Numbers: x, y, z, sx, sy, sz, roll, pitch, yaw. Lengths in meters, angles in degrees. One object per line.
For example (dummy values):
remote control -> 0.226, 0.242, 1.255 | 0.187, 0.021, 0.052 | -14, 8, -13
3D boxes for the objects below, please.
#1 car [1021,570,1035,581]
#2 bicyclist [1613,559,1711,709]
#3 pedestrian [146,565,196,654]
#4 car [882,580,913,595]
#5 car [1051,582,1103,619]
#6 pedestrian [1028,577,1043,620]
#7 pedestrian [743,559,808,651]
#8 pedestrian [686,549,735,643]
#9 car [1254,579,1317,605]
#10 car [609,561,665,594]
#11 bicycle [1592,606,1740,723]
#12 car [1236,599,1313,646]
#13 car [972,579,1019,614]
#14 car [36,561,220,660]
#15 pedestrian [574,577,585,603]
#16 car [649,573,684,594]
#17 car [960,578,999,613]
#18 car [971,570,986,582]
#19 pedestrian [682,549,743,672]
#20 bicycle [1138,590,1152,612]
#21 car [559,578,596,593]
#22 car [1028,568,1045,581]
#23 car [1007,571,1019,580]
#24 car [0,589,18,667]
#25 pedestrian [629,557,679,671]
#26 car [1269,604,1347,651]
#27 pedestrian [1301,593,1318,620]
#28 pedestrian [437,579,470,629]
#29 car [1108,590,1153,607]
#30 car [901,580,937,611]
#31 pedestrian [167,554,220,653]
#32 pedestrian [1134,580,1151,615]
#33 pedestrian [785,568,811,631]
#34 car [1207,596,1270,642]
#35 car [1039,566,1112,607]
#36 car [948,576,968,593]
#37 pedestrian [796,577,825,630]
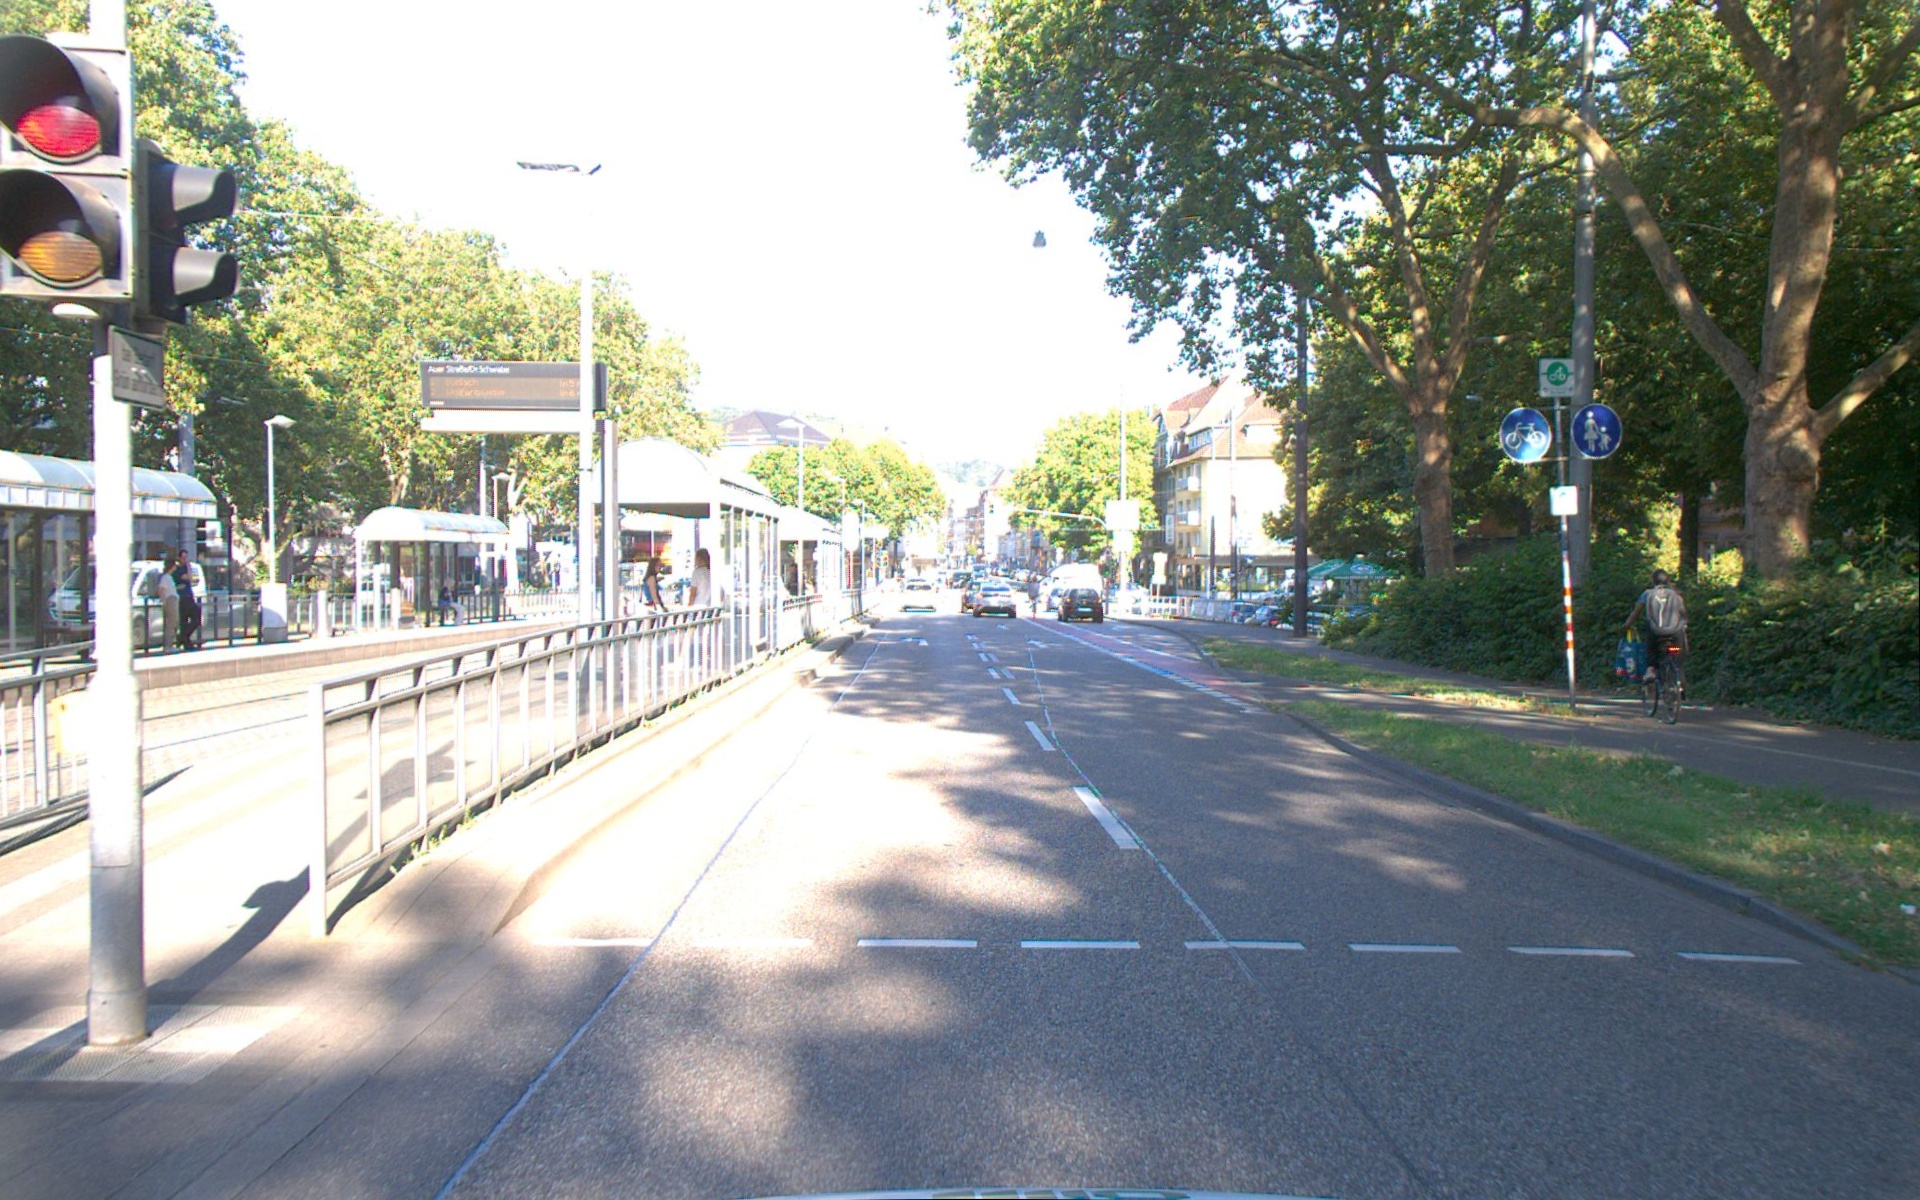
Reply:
car -> 9.681, -3.471, 234.721 | 1.758, 1.536, 3.999 | 0, 1, -2
bicyclist -> 7.342, 0.346, 17.319 | 0.750, 1.539, 0.650 | 0, 1, -2
pedestrian -> -14.187, 0.175, 29.751 | 0.580, 1.571, 0.626 | 1, 0, -1
car -> -6.418, -1.289, 170.052 | 1.689, 1.537, 3.875 | 0, 0, 23
car -> 4.850, 0.005, 69.138 | 1.764, 1.464, 4.044 | 1, 1, -2
pedestrian -> 3.335, -0.065, 73.207 | 0.643, 1.903, 0.677 | 0, 0, -2
pedestrian -> -3.399, 0.087, 30.490 | 0.786, 1.662, 0.863 | 2, 1, 36
pedestrian -> -4.725, -0.083, 31.338 | 0.646, 1.752, 0.701 | 1, 0, -37
car -> 22.424, -0.549, 113.996 | 4.059, 1.722, 1.822 | 1, 0, 17
car -> -32.220, -2.262, 165.145 | 2.444, 3.220, 6.536 | 0, 1, 21
bicycle -> 7.351, 0.644, 17.317 | 0.750, 1.127, 1.800 | 0, 1, -2
car -> 12.637, 0.874, 66.743 | 1.761, 1.834, 4.203 | 1, 0, -8
car -> 1.555, -0.164, 74.292 | 1.890, 1.498, 4.853 | 0, 1, -1
car -> -19.987, 0.236, 40.026 | 2.026, 2.161, 5.087 | -2, 0, -3
pedestrian -> -22.723, -0.604, 98.838 | 0.524, 1.579, 0.676 | 0, 1, -2
car -> -29.097, -1.647, 164.043 | 1.756, 1.990, 4.002 | 0, 1, 17
car -> 0.931, -0.264, 81.587 | 1.764, 1.666, 4.044 | 0, 1, -2
car -> 2.295, -2.994, 206.363 | 1.758, 1.536, 3.998 | 0, 1, -3
pedestrian -> -3.543, 0.149, 23.765 | 0.727, 1.724, 0.791 | 1, 0, -1
bicycle -> 9.505, 0.066, 84.907 | 0.488, 1.093, 1.799 | 1, 0, -1
car -> -38.954, -1.490, 168.442 | 1.757, 1.536, 4.000 | 0, 1, 22
car -> 10.524, -3.520, 228.214 | 2.062, 1.807, 4.340 | 0, 1, -2
car -> 8.335, -3.848, 260.087 | 1.758, 1.549, 3.999 | 0, 1, -2
car -> -19.853, 0.592, 31.238 | 1.758, 1.536, 4.339 | -2, 0, -3
pedestrian -> -4.378, 0.190, 23.677 | 0.576, 1.594, 0.650 | 1, 0, -1
car -> 12.676, 0.984, 60.496 | 1.758, 1.606, 4.441 | 1, 0, -2
pedestrian -> 17.847, 0.316, 84.499 | 0.636, 1.361, 0.631 | 3, 0, 29
pedestrian -> -14.167, 0.109, 46.305 | 0.656, 1.347, 0.756 | -3, 0, -3
car -> 11.964, -0.106, 116.155 | 2.845, 1.183, 2.073 | 1, 0, -3
car -> -2.080, -0.252, 83.261 | 1.772, 1.478, 3.999 | 1, 1, -2
pedestrian -> -14.130, 0.060, 30.486 | 0.634, 1.803, 0.650 | 1, 0, 1
pedestrian -> 8.629, -0.117, 78.188 | 0.634, 1.590, 0.632 | 3, 0, 17
pedestrian -> -4.432, -0.023, 45.284 | 0.583, 1.707, 0.590 | 1, 0, 4
car -> 12.183, 0.823, 72.587 | 1.758, 1.931, 4.356 | 1, 0, -3
car -> 8.089, -0.946, 115.924 | 4.914, 2.791, 2.072 | 1, 0, -3
car -> -0.186, -1.794, 191.696 | 1.756, 1.858, 4.004 | 0, 1, 9
pedestrian -> -3.790, 0.081, 41.943 | 0.665, 1.331, 0.593 | 1, 0, -1
